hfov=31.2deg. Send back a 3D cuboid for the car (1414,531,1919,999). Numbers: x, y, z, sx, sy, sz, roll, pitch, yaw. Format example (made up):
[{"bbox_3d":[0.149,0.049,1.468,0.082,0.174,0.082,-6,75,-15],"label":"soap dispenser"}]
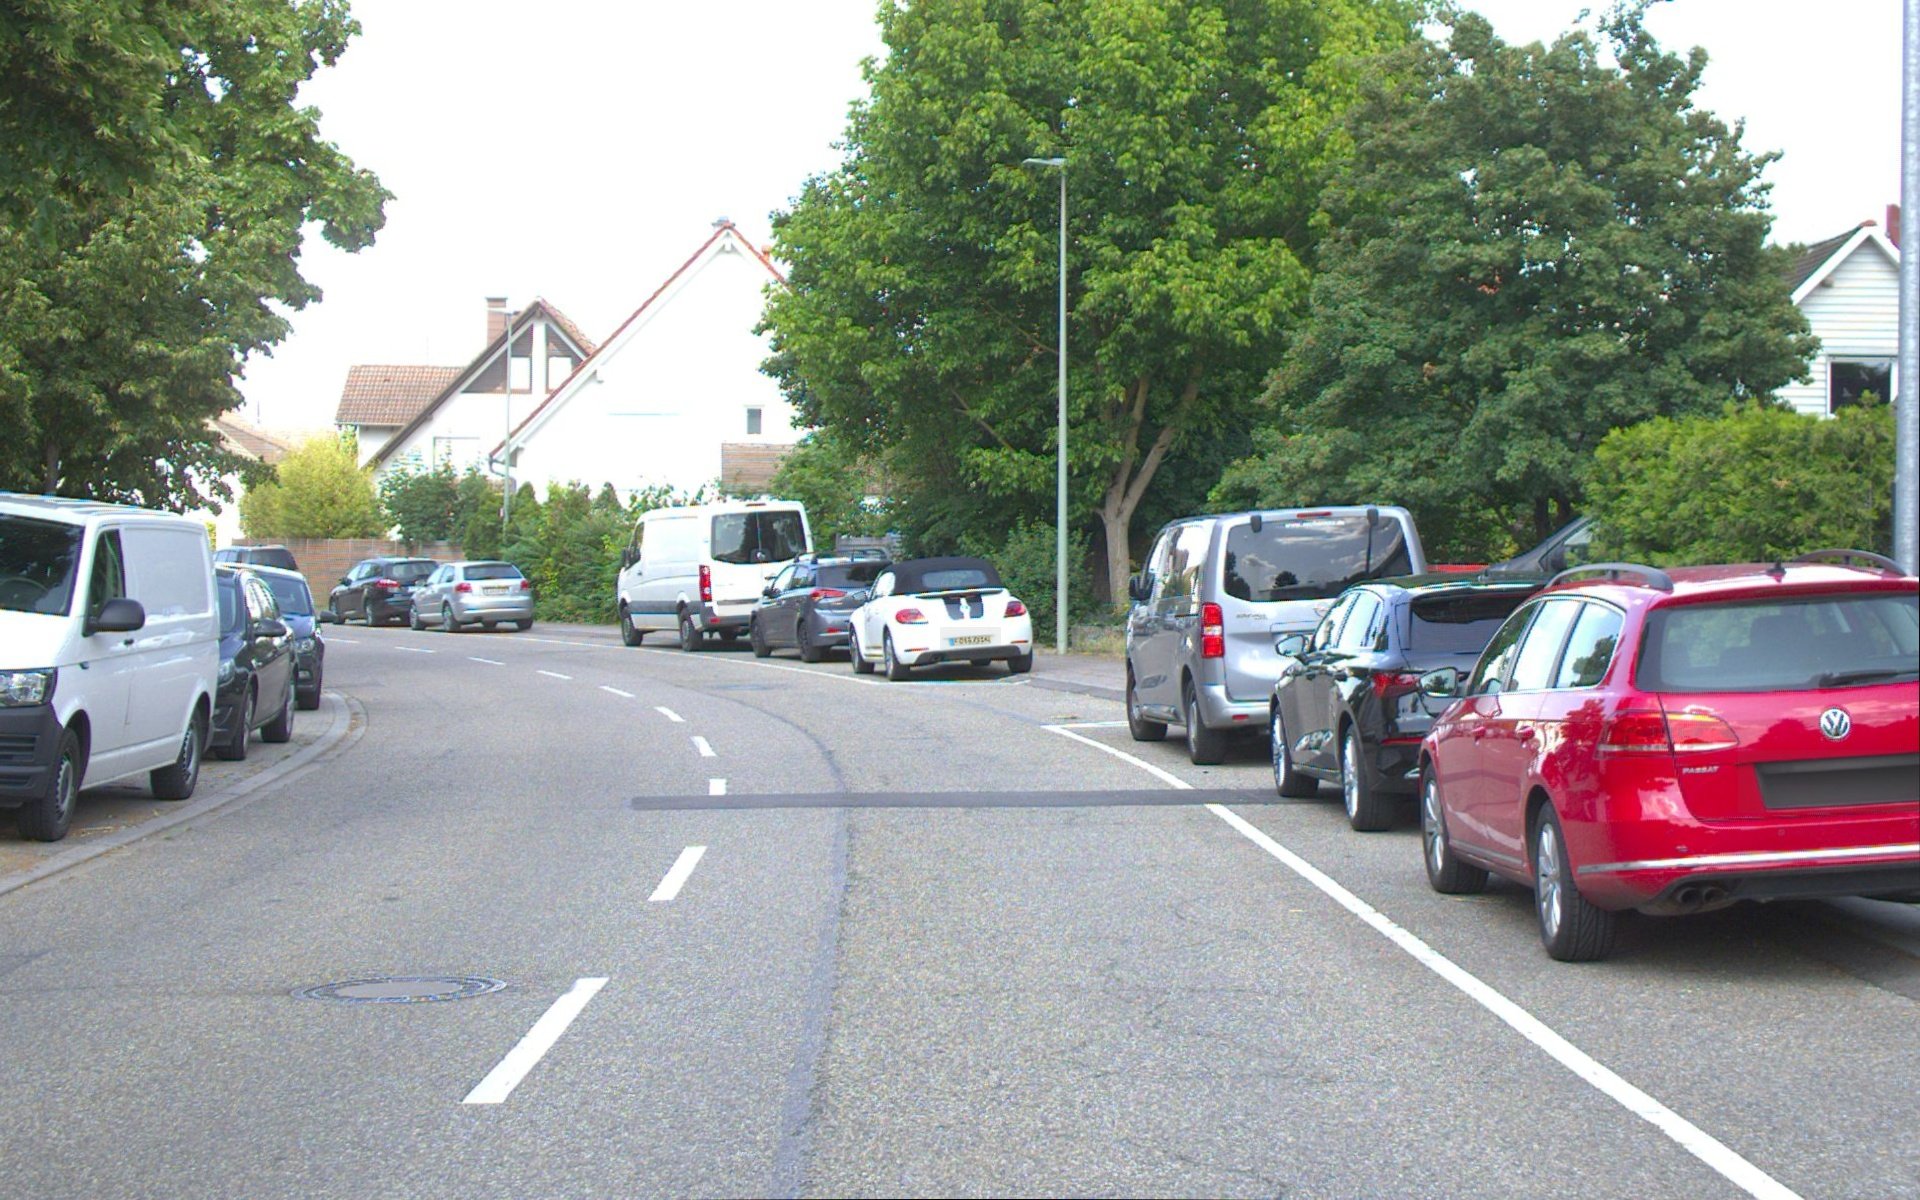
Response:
[{"bbox_3d":[3.147,0.533,14.006,1.849,1.574,4.733,1,1,-1],"label":"car"}]

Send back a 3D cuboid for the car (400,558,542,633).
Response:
[{"bbox_3d":[-10.076,-0.102,70.599,1.737,1.452,4.366,1,1,-24],"label":"car"}]

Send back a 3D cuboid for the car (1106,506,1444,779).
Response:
[{"bbox_3d":[2.403,0.271,27.467,1.842,1.938,4.877,-2,1,-4],"label":"car"}]

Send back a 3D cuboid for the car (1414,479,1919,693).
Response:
[{"bbox_3d":[7.500,-0.159,35.606,5.343,2.050,1.999,1,0,13],"label":"car"}]

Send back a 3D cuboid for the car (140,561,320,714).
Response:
[{"bbox_3d":[-7.968,0.366,37.405,1.760,1.484,4.034,2,0,-13],"label":"car"}]

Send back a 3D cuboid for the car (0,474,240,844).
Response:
[{"bbox_3d":[-5.946,0.251,21.282,1.879,2.002,5.323,2,1,-1],"label":"car"}]

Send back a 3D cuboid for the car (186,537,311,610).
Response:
[{"bbox_3d":[-17.898,-0.688,86.345,1.794,1.742,4.584,1,1,-29],"label":"car"}]

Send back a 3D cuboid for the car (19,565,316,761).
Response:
[{"bbox_3d":[-6.586,0.470,28.994,1.760,1.484,4.505,1,1,-4],"label":"car"}]

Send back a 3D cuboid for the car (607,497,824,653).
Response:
[{"bbox_3d":[-4.125,-0.434,56.991,2.117,2.432,5.896,1,1,-19],"label":"car"}]

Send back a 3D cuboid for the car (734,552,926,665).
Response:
[{"bbox_3d":[-1.966,0.101,50.802,1.717,1.580,4.125,1,1,-19],"label":"car"}]

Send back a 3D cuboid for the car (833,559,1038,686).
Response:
[{"bbox_3d":[-0.376,0.252,43.927,1.739,1.507,4.460,1,1,-12],"label":"car"}]

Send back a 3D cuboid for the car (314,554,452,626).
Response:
[{"bbox_3d":[-12.715,-0.233,75.580,1.737,1.504,4.476,1,1,-26],"label":"car"}]
